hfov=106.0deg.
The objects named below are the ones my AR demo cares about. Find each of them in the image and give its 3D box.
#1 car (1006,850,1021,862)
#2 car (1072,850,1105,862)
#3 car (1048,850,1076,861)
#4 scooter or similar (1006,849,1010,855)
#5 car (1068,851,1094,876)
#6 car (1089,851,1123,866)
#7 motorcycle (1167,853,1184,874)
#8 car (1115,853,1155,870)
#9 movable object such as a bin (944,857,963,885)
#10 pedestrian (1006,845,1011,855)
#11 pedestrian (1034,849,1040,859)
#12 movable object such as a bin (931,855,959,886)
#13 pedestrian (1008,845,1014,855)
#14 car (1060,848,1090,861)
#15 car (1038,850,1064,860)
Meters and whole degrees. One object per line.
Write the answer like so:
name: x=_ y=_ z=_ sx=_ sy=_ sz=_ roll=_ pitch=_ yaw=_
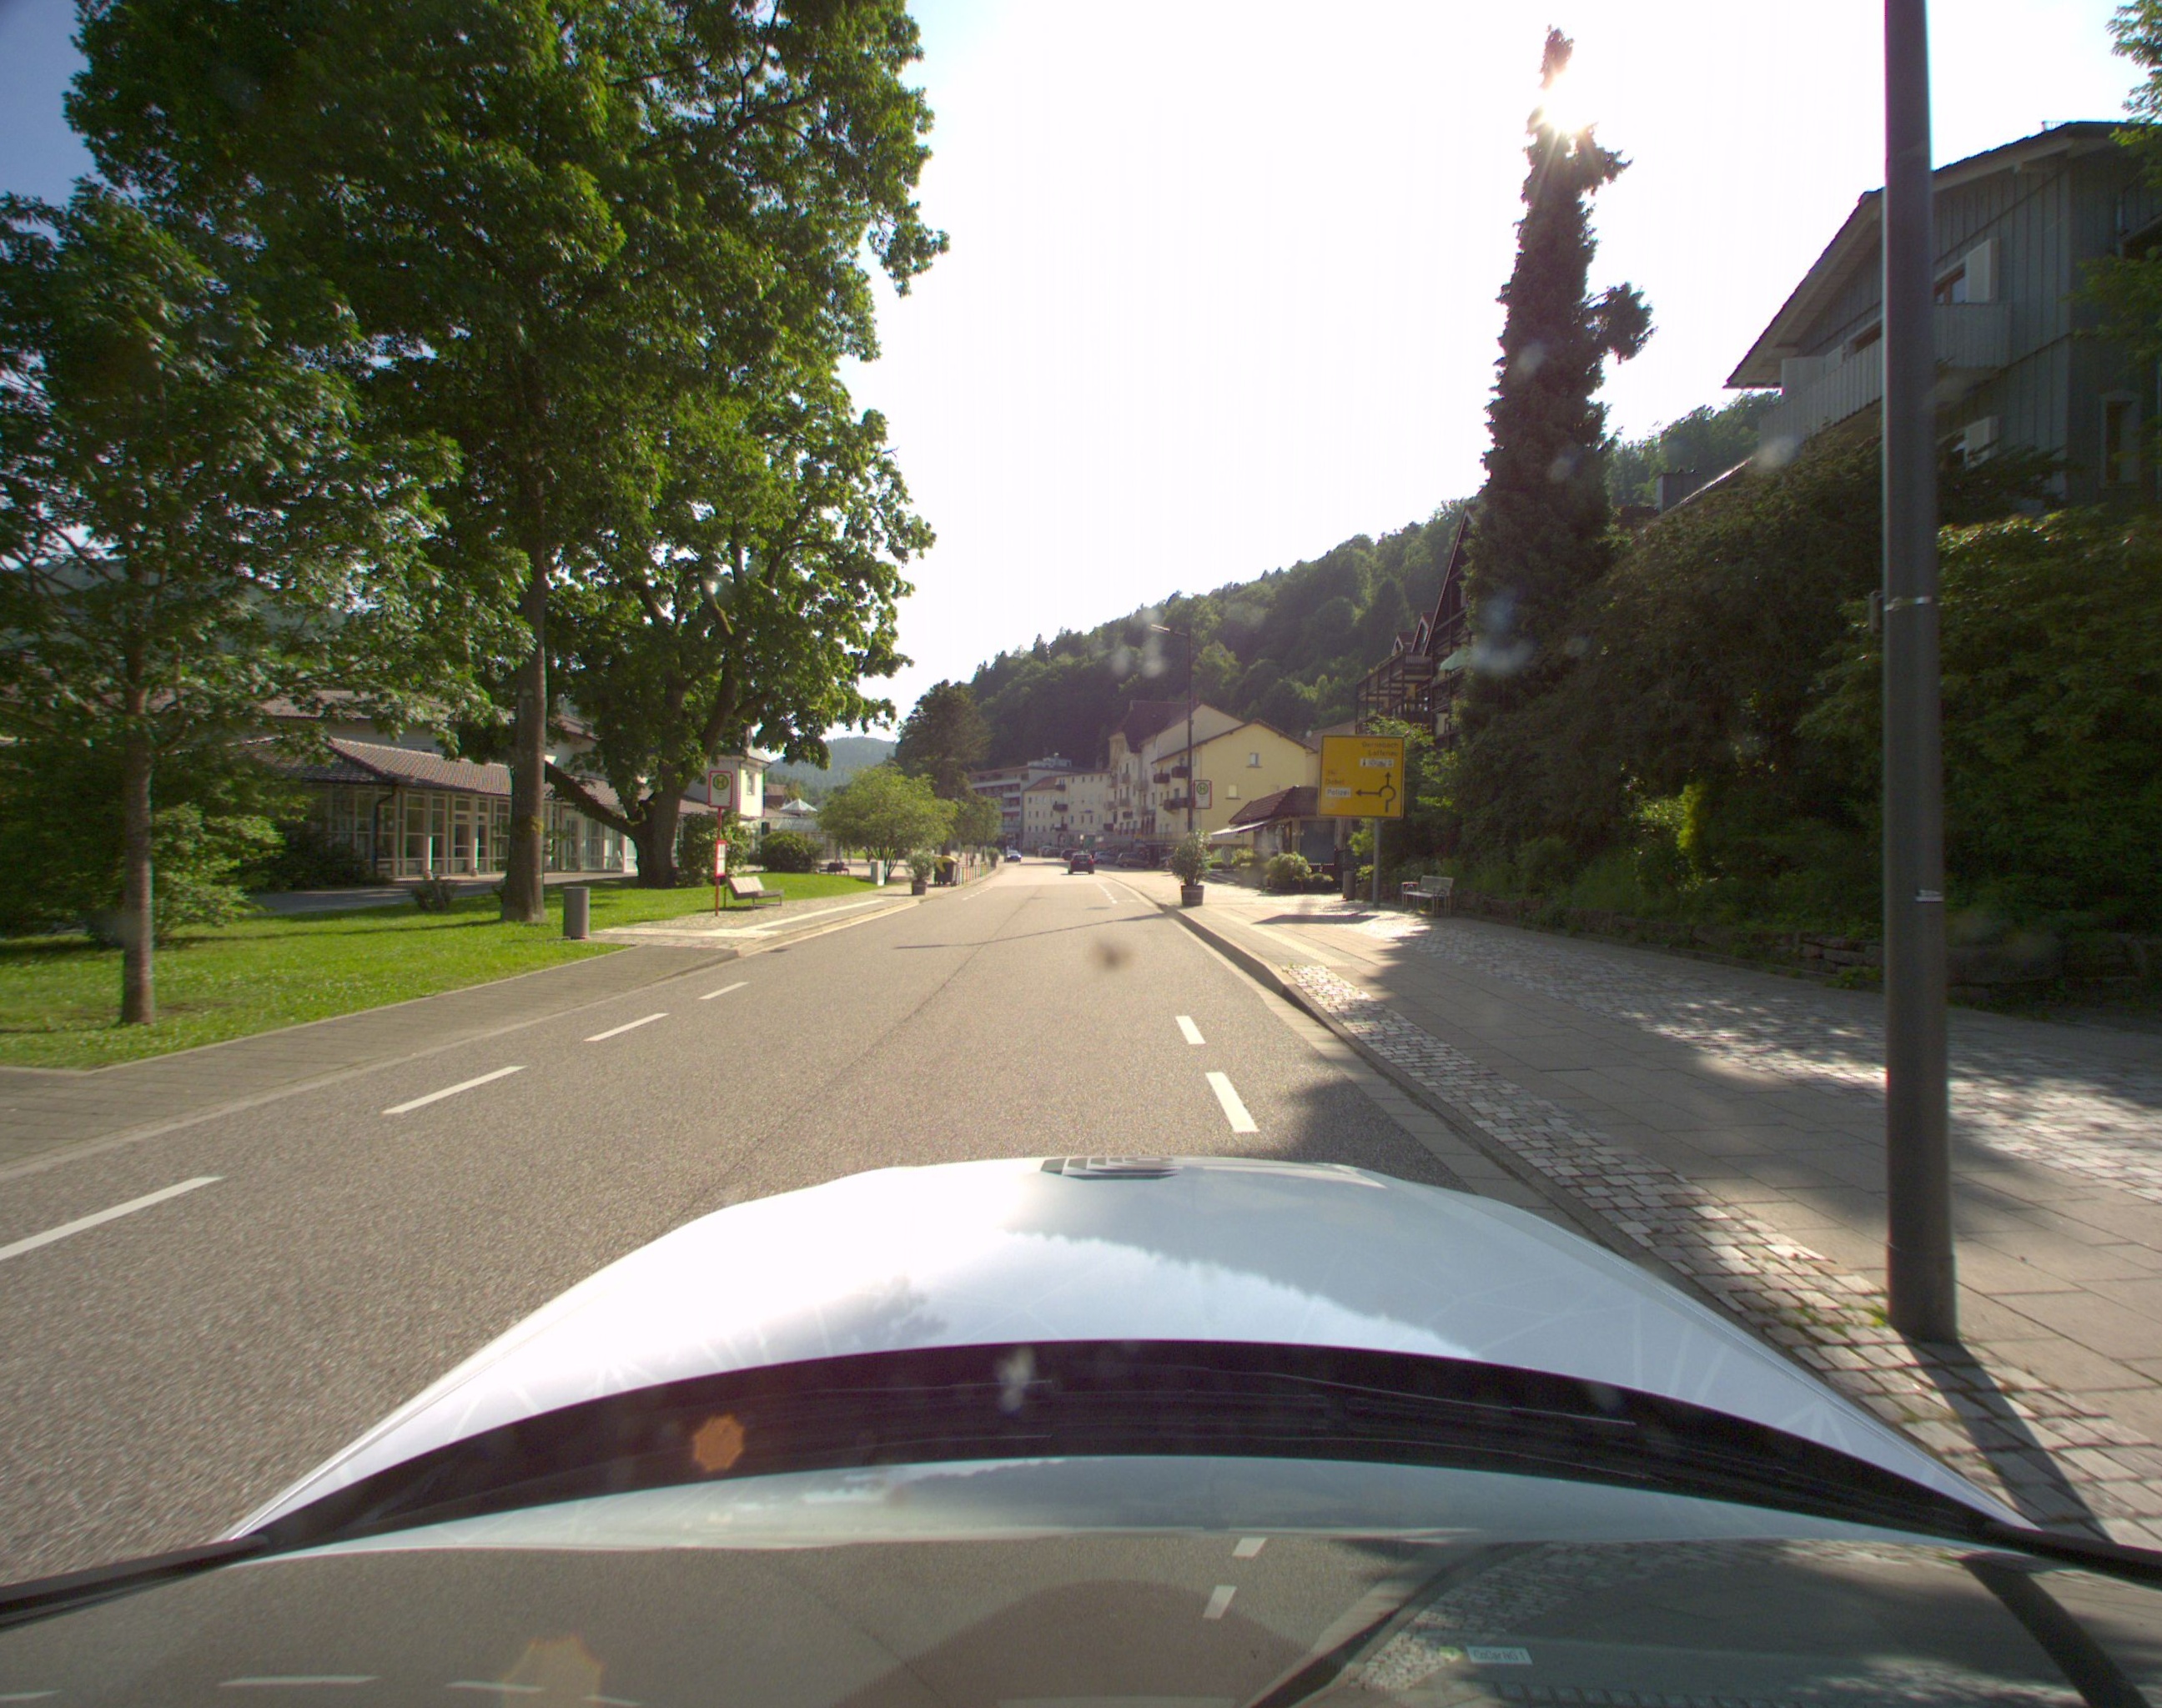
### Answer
car: x=-8.430 y=0.216 z=102.452 sx=1.737 sy=1.462 sz=4.182 roll=-1 pitch=0 yaw=-3
car: x=1.048 y=0.284 z=111.733 sx=4.352 sy=1.461 sz=1.768 roll=2 pitch=-1 yaw=-7
car: x=-3.008 y=0.191 z=127.352 sx=4.034 sy=1.516 sz=1.756 roll=-2 pitch=3 yaw=-29
scooter or similar: x=-12.736 y=-0.386 z=142.170 sx=0.600 sy=0.950 sz=0.470 roll=1 pitch=0 yaw=-32
car: x=-0.031 y=0.688 z=60.860 sx=1.723 sy=1.574 sz=3.750 roll=2 pitch=2 yaw=-3
car: x=3.072 y=0.587 z=100.202 sx=3.908 sy=1.589 sz=1.769 roll=3 pitch=0 yaw=-9
motorcycle: x=6.006 y=0.602 z=51.703 sx=0.695 sy=1.296 sz=2.210 roll=-2 pitch=0 yaw=-3
car: x=5.689 y=0.792 z=86.581 sx=3.861 sy=1.554 sz=1.754 roll=3 pitch=0 yaw=-12
movable object such as a bin: x=-6.437 y=0.836 z=41.247 sx=0.753 sy=1.341 sz=1.294 roll=3 pitch=0 yaw=-2
pedestrian: x=-12.642 y=-0.685 z=142.037 sx=0.762 sy=1.593 sz=0.622 roll=1 pitch=0 yaw=-31
pedestrian: x=-6.724 y=-0.011 z=125.065 sx=0.740 sy=1.442 sz=0.626 roll=-1 pitch=1 yaw=-34
movable object such as a bin: x=-6.559 y=0.774 z=39.295 sx=1.076 sy=1.427 sz=1.376 roll=3 pitch=0 yaw=-2
pedestrian: x=-12.272 y=-0.692 z=143.181 sx=0.673 sy=1.728 sz=0.700 roll=1 pitch=0 yaw=-31
car: x=-0.881 y=0.068 z=116.699 sx=4.082 sy=1.666 sz=1.767 roll=4 pitch=0 yaw=-9
car: x=-4.804 y=0.147 z=131.462 sx=3.885 sy=1.549 sz=1.756 roll=-2 pitch=3 yaw=-29
